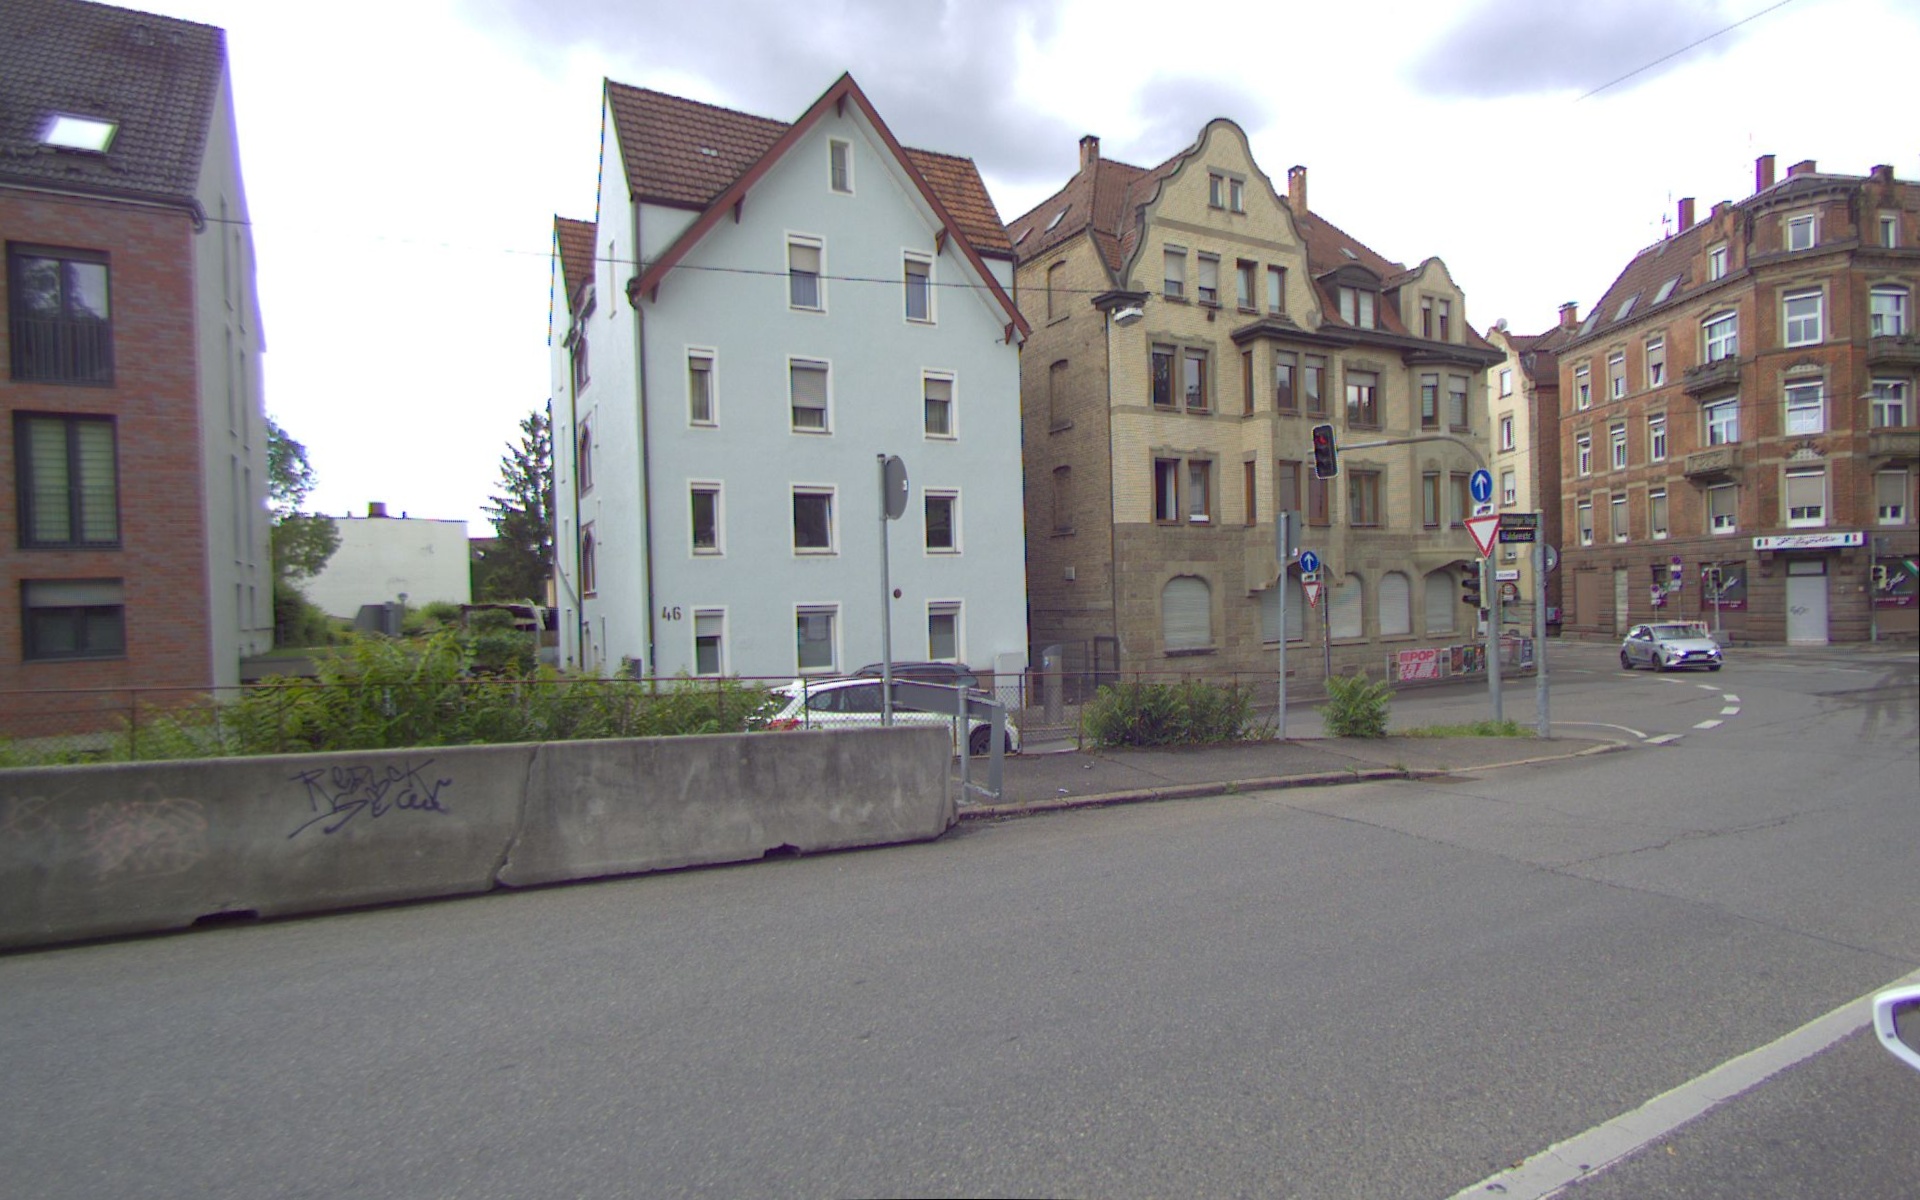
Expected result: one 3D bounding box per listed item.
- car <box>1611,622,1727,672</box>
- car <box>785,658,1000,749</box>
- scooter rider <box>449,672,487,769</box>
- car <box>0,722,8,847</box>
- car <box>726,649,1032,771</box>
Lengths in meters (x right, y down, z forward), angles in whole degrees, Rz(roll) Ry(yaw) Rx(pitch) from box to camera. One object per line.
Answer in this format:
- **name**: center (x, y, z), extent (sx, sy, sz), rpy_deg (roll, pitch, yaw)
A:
- **car**: center (22.402, 1.459, 31.885), extent (1.641, 1.487, 3.646), rpy_deg (0, -1, 11)
- **car**: center (-1.375, 2.079, 20.963), extent (4.184, 1.576, 1.674), rpy_deg (1, -1, -31)
- **scooter rider**: center (-9.218, 2.243, 18.802), extent (0.570, 1.728, 0.485), rpy_deg (-1, 1, -30)
- **car**: center (-15.642, 2.786, 13.542), extent (3.722, 1.826, 1.706), rpy_deg (0, 2, -30)
- **car**: center (-1.198, 1.580, 15.508), extent (4.371, 1.534, 1.819), rpy_deg (1, 0, -30)
